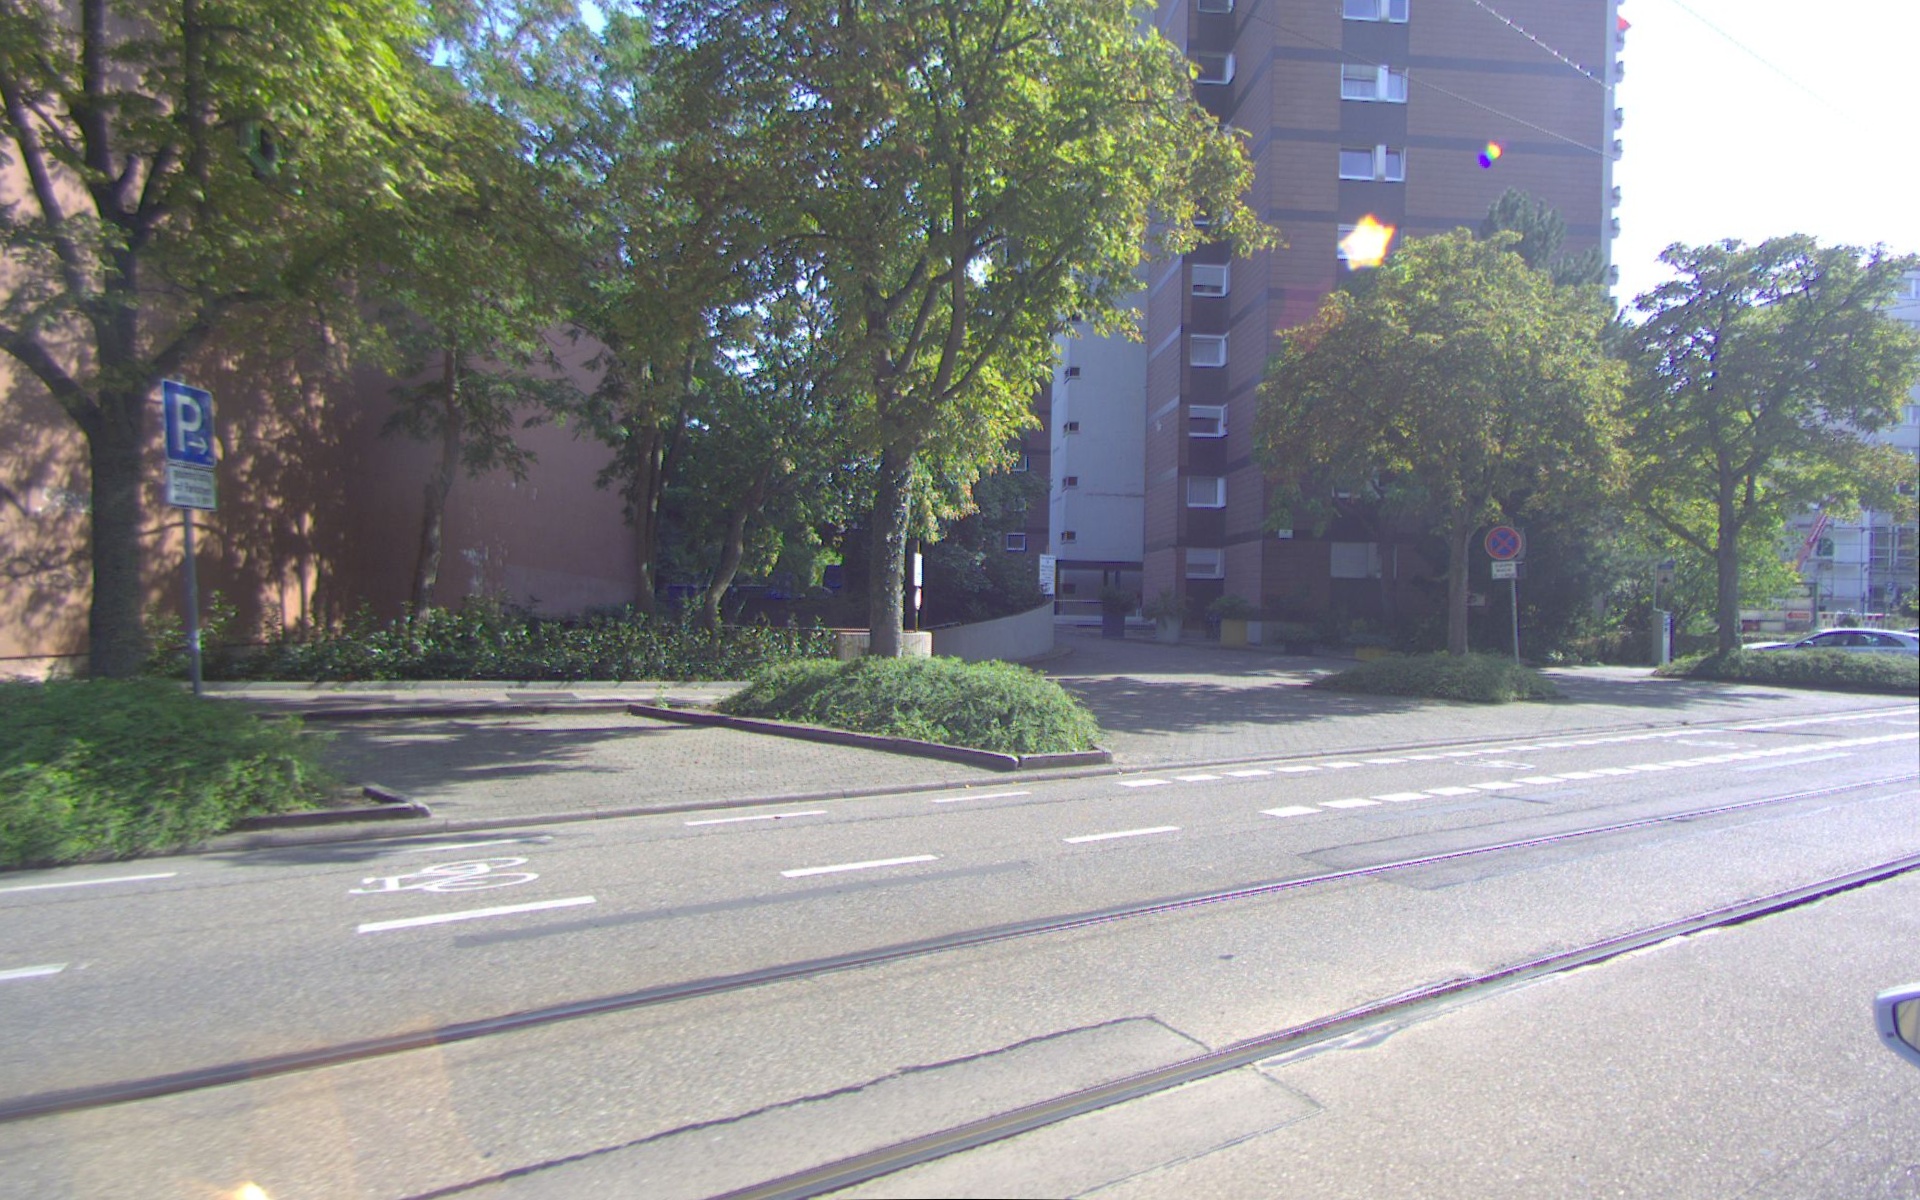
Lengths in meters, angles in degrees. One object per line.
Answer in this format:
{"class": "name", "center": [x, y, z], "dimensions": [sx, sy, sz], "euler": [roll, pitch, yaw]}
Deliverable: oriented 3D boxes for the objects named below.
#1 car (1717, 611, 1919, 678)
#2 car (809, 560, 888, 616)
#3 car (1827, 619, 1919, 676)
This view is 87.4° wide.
{"class": "car", "center": [22.292, 1.109, 26.106], "dimensions": [3.929, 1.499, 1.785], "euler": [2, 0, 31]}
{"class": "car", "center": [-5.765, -0.583, 51.291], "dimensions": [1.998, 2.631, 5.167], "euler": [1, 0, -31]}
{"class": "car", "center": [27.946, 1.418, 29.473], "dimensions": [3.585, 1.535, 1.616], "euler": [3, 1, 35]}
